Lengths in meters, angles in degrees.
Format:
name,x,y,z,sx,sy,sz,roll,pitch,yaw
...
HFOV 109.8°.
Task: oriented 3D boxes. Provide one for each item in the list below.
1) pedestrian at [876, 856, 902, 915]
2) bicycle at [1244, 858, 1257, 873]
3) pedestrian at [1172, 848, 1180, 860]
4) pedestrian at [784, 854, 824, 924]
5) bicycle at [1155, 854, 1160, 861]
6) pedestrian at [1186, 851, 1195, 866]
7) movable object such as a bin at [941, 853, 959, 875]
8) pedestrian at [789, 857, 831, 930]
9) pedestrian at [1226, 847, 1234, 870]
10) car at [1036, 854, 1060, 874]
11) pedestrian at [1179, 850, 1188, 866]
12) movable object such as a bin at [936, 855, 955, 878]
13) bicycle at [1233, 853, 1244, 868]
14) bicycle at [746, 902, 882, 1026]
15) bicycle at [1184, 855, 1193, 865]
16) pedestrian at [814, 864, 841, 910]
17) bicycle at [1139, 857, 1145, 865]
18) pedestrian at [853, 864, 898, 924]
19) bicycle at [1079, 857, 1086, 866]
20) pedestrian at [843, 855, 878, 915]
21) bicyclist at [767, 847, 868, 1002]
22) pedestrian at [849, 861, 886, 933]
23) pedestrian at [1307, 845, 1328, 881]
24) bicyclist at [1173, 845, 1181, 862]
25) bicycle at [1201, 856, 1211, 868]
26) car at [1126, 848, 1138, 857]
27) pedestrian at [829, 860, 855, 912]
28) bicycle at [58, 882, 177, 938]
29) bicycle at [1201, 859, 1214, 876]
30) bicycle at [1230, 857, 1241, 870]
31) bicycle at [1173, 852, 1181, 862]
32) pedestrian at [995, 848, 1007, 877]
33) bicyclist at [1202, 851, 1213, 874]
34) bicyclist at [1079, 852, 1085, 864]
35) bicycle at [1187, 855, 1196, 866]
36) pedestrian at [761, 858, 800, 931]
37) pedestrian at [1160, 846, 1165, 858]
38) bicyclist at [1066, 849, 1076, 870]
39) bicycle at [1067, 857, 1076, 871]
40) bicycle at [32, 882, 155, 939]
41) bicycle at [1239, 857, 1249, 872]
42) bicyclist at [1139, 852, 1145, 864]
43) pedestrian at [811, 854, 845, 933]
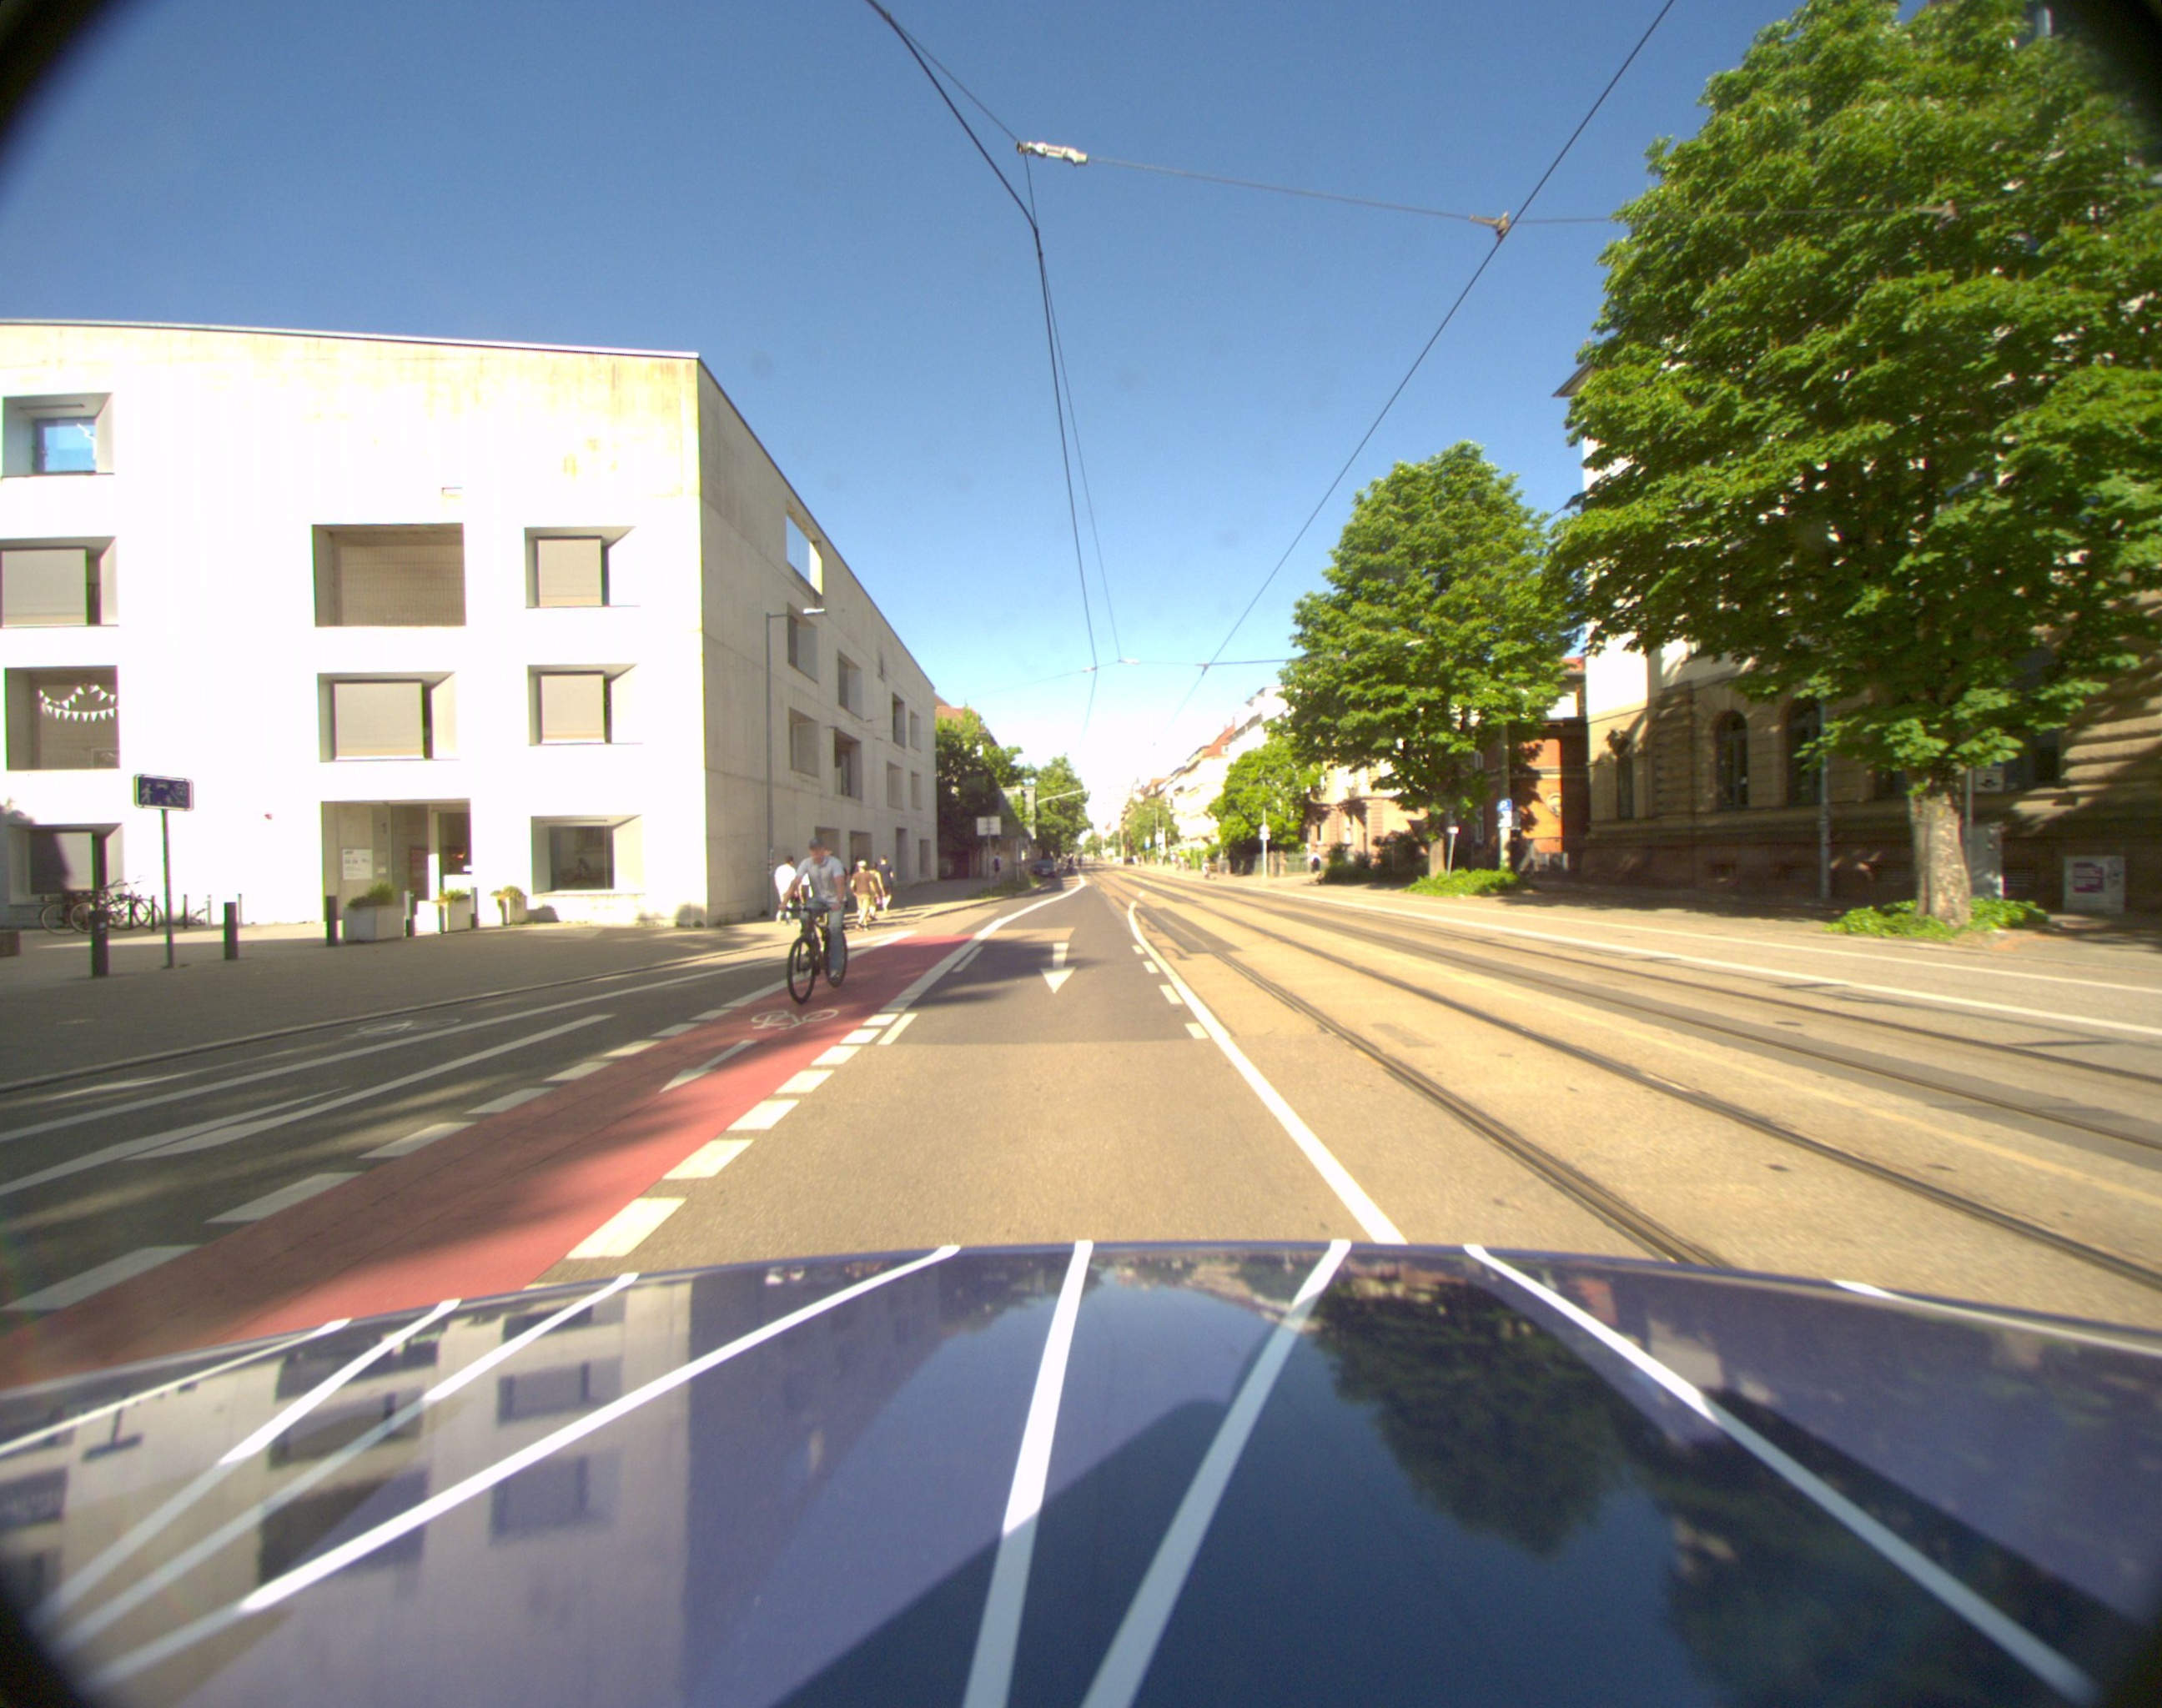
name,x,y,z,sx,sy,sz,roll,pitch,yaw
pedestrian,-5.869,0.947,23.272,0.496,1.718,0.816,3,1,1
bicycle,12.508,0.844,56.024,0.591,1.039,1.905,-3,1,3
pedestrian,13.603,-0.026,108.494,0.692,1.758,0.868,0,1,42
pedestrian,-7.323,0.913,20.094,0.658,1.792,0.732,2,1,7
bicycle,11.839,0.471,117.045,0.515,1.032,2.222,-1,1,0
pedestrian,11.786,0.483,81.610,0.756,1.469,0.956,-3,1,0
movable object such as a bin,-8.885,0.661,51.620,0.936,1.455,1.331,-1,1,-1
pedestrian,-6.798,0.966,19.072,0.528,1.764,0.737,4,1,26
pedestrian,12.176,0.354,62.047,0.576,1.821,0.690,-1,1,19
car,-2.715,0.784,61.573,1.827,1.450,4.816,0,0,-4
pedestrian,11.016,0.414,81.777,0.756,1.704,0.808,-3,1,0
movable object such as a bin,-8.799,0.795,49.546,0.935,1.455,1.355,-1,1,1
bicycle,12.561,0.477,60.647,0.647,1.137,1.906,-3,0,8
bicycle,-3.024,1.199,8.863,0.740,1.088,2.111,-3,1,2
bicycle,12.224,0.652,86.297,0.663,1.083,1.840,-4,1,0
pedestrian,-8.017,1.037,24.040,0.519,1.396,0.764,-1,1,3
bicycle,8.379,0.980,104.298,0.747,1.075,1.899,2,1,1
pedestrian,-5.779,1.097,21.382,0.830,1.595,0.894,3,1,10
bicycle,0.150,0.992,99.350,0.776,1.080,2.058,-2,0,-3
pedestrian,-6.714,0.933,23.180,0.649,1.753,0.956,3,1,2
bicyclist,-3.042,0.776,8.869,0.740,1.676,0.972,-3,1,1
pedestrian,-5.338,1.065,19.039,0.607,1.737,0.718,2,1,7
pedestrian,12.220,0.445,39.321,0.731,1.787,0.780,-4,1,-3
bicyclist,10.694,-0.097,84.812,0.705,1.843,0.986,-1,2,13
bicycle,12.042,0.787,73.077,0.640,1.053,1.743,-4,1,1
car,9.242,-0.348,138.902,1.869,1.567,4.588,1,0,-1
pedestrian,-7.470,0.989,23.813,0.519,1.591,0.764,-1,1,3
bicycle,-20.989,1.201,16.602,0.498,1.089,1.587,-1,1,3
bicycle,9.070,0.964,54.518,0.688,1.118,1.932,1,1,4
bicycle,12.627,0.781,62.085,0.637,1.039,2.024,-1,1,16
bicycle,10.703,0.381,84.825,0.705,1.049,1.836,-1,2,13
pedestrian,-5.085,0.521,48.294,0.685,1.839,0.955,0,1,-2
bicyclist,9.076,0.612,54.531,0.688,1.635,1.238,1,1,4
bicyclist,0.141,0.529,99.349,0.776,1.505,1.229,-2,1,-3
bicycle,12.253,0.724,84.238,0.663,1.083,1.840,-4,1,0
pedestrian,-7.555,0.999,19.123,0.611,1.764,0.653,3,1,1
pedestrian,11.956,-0.284,111.608,0.558,1.771,0.538,-1,1,-4
bicyclist,-0.855,0.466,66.327,0.763,1.728,1.046,-2,1,-1
bicycle,-0.840,0.865,66.403,0.763,1.235,2.096,-2,0,-1
bicycle,-21.491,1.202,16.584,0.498,1.089,1.592,-1,2,3
bicycle,12.499,0.802,58.340,0.591,1.039,1.906,-2,0,8
bicyclist,8.394,0.578,104.289,0.747,1.590,1.117,2,1,1
pedestrian,-6.222,0.953,18.723,0.519,1.891,0.612,2,1,7
